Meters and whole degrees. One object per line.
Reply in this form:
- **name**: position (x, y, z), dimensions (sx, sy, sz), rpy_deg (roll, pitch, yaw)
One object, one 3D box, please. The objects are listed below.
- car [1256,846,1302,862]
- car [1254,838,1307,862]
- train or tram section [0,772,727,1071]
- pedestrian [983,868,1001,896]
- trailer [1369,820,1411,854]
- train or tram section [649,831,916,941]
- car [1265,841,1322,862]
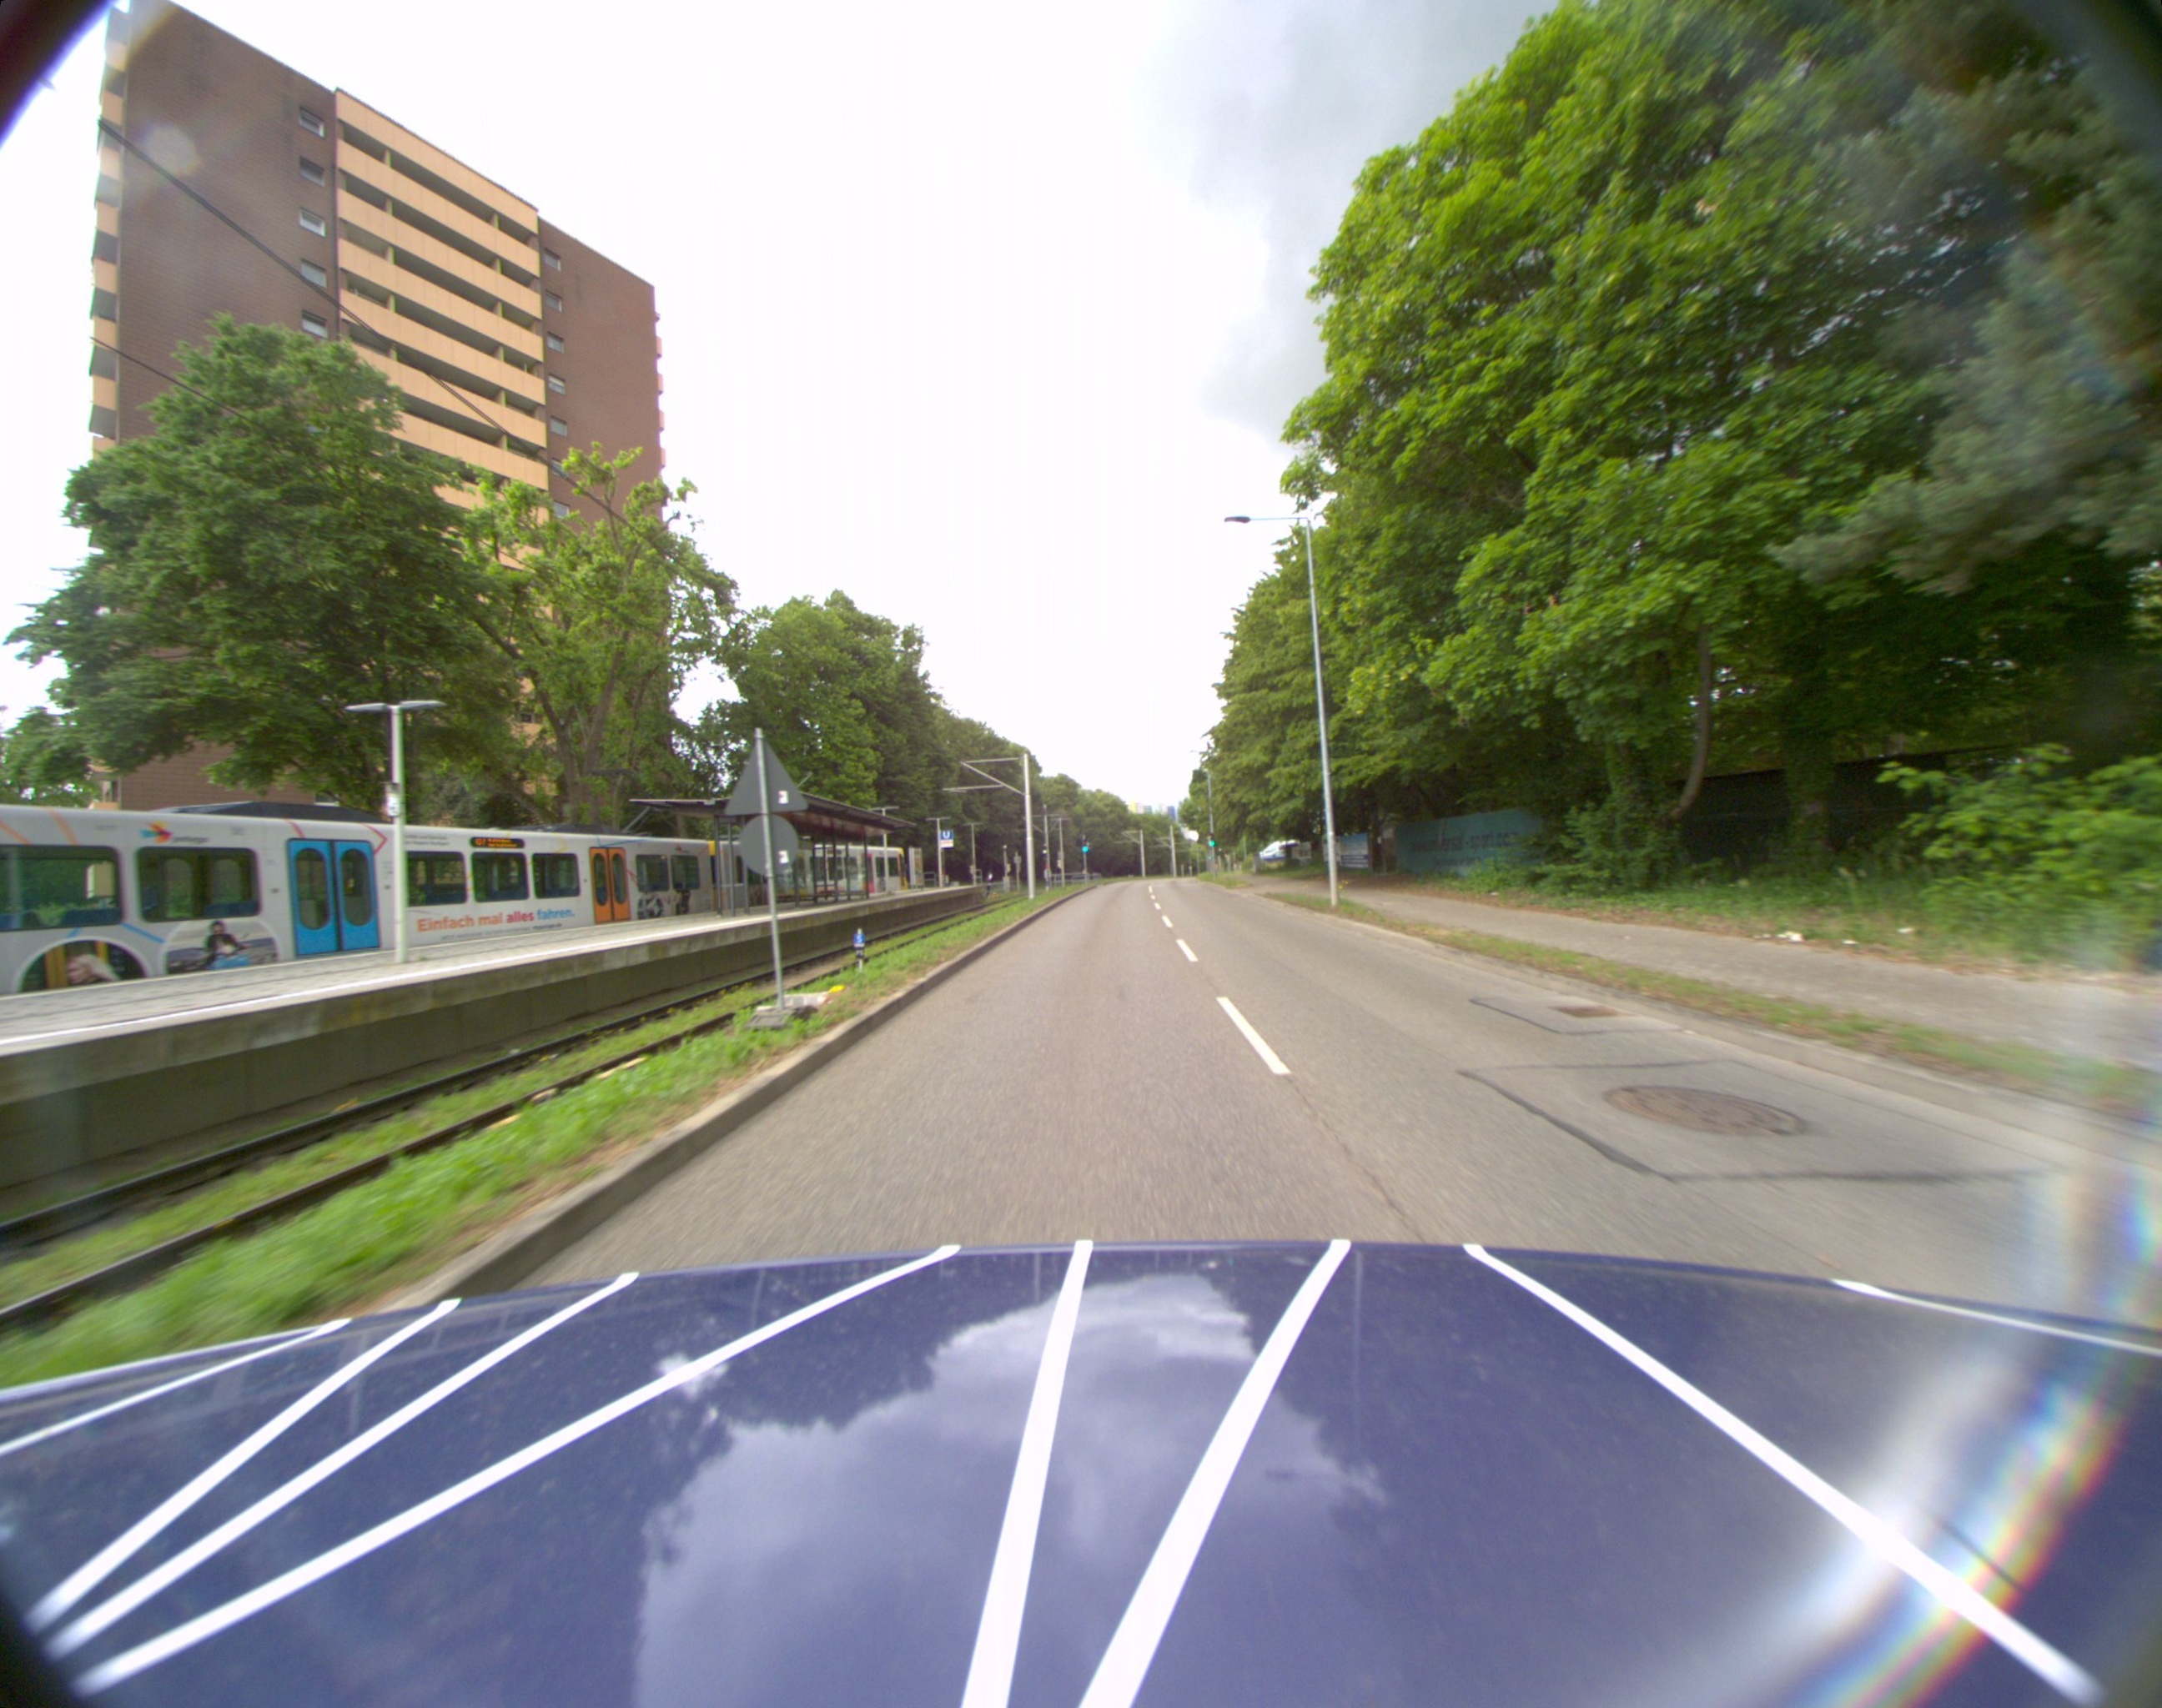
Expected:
- **car**: position (20.210, 0.004, 77.747), dimensions (4.384, 1.308, 1.565), rpy_deg (-4, -2, 13)
- **car**: position (21.159, -0.386, 80.685), dimensions (5.164, 2.093, 2.217), rpy_deg (-4, -2, 14)
- **train or tram section**: position (-14.565, 1.018, 17.270), dimensions (2.820, 3.776, 18.940), rpy_deg (-4, -1, 4)
- **pedestrian**: position (-5.903, 1.868, 50.538), dimensions (0.986, 1.747, 0.730), rpy_deg (-4, -1, -2)
- **trailer**: position (30.491, -1.624, 75.145), dimensions (2.652, 3.055, 7.203), rpy_deg (-5, -1, 14)
- **train or tram section**: position (-12.531, 1.184, 35.932), dimensions (2.819, 3.714, 18.544), rpy_deg (-4, -1, 8)
- **car**: position (20.566, -0.245, 73.659), dimensions (5.164, 1.552, 1.888), rpy_deg (-4, -2, 14)
